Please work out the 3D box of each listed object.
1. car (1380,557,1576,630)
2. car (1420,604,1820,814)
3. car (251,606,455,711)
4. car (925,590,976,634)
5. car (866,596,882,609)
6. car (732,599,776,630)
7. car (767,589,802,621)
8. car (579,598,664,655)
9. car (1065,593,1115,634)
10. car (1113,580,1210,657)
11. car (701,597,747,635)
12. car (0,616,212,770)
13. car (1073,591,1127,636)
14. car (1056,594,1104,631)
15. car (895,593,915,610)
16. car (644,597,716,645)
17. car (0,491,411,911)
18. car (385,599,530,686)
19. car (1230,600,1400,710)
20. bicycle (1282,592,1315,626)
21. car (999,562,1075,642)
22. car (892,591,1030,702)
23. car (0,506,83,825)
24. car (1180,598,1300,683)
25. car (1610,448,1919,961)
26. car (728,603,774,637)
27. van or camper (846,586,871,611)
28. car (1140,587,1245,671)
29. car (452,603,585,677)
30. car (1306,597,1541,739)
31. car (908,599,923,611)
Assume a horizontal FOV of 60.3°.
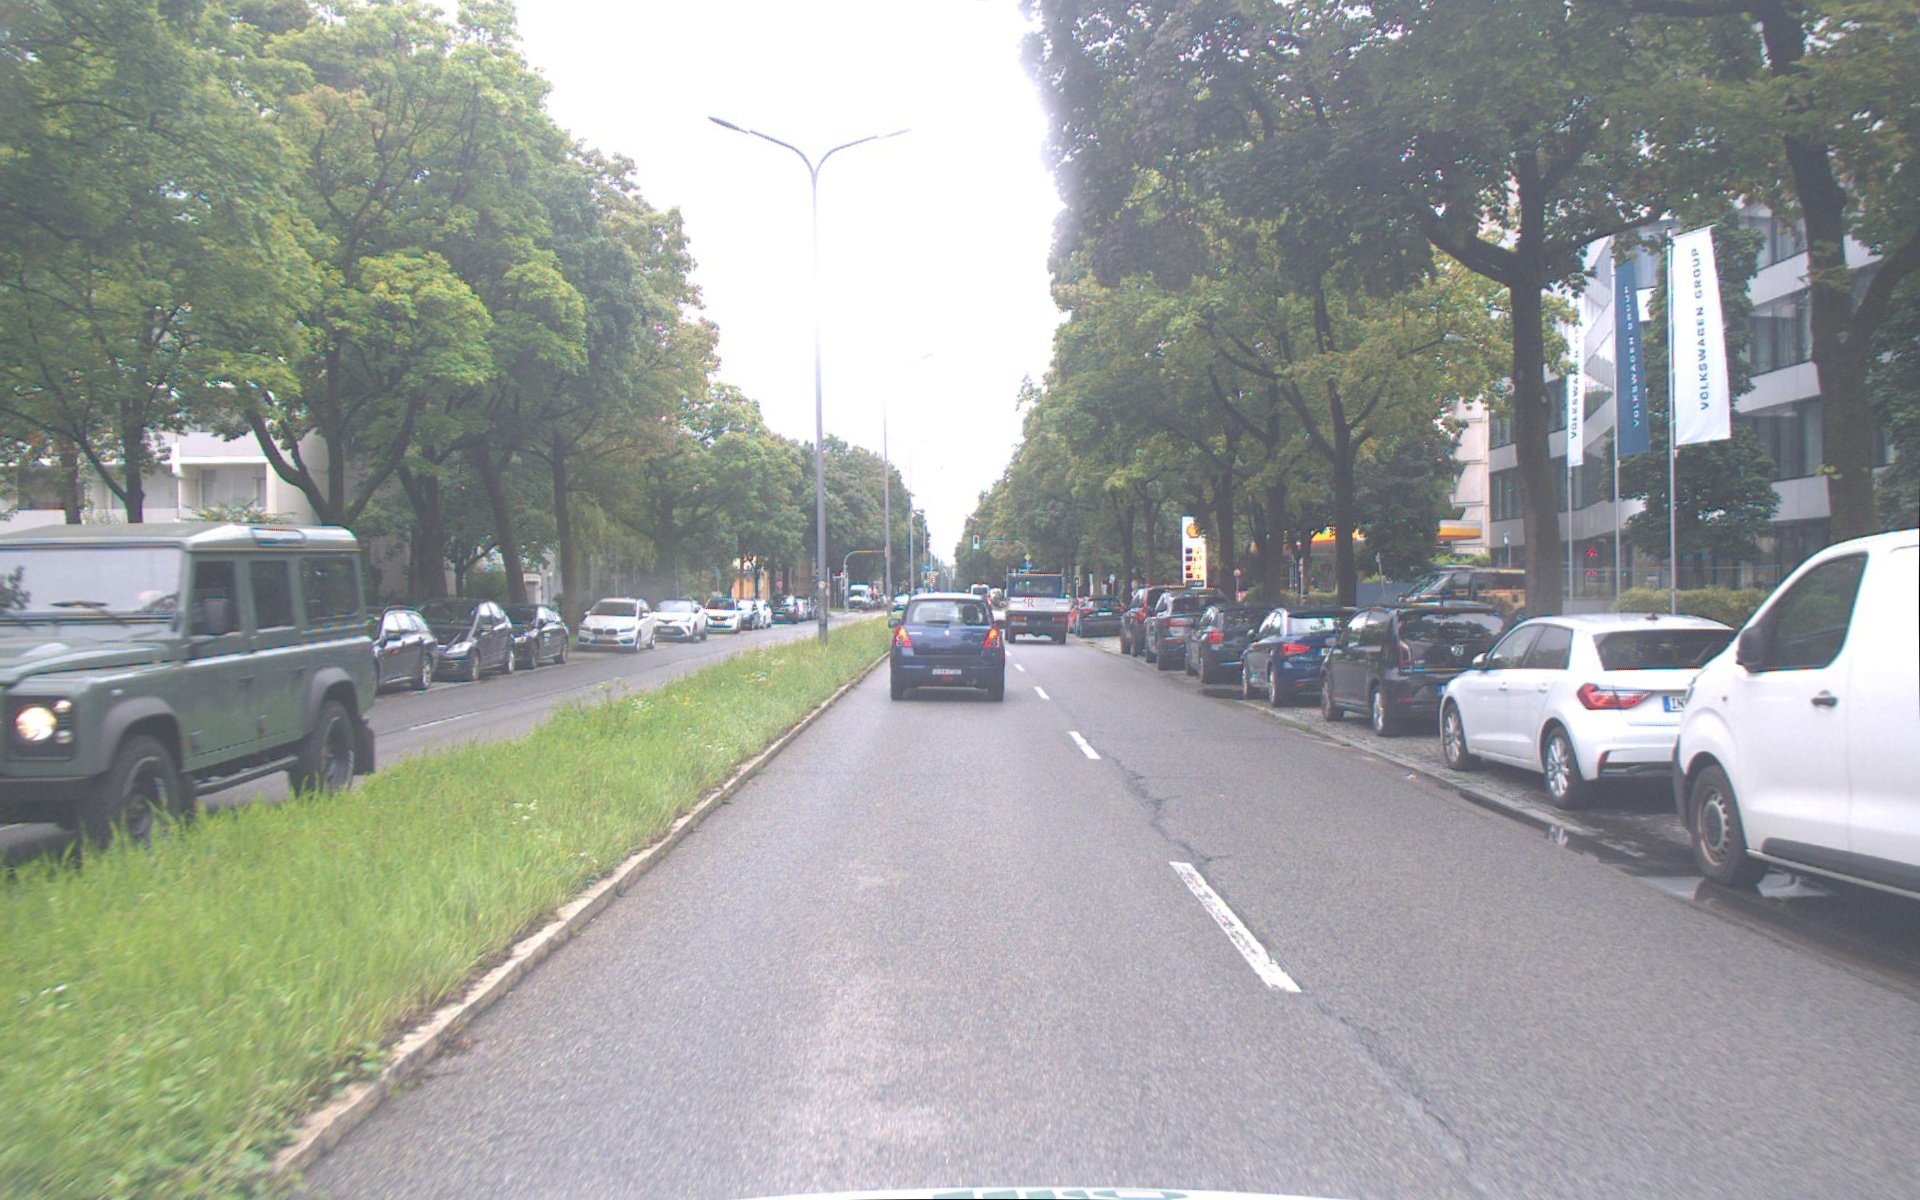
[{"bbox_3d":[15.963,-0.206,51.168,5.359,2.120,2.146,-1,0,-1],"label":"car"},{"bbox_3d":[5.306,0.786,13.944,1.667,1.422,4.232,-1,0,0],"label":"car"},{"bbox_3d":[-10.342,0.930,28.626,1.681,1.551,5.034,2,0,-1],"label":"car"},{"bbox_3d":[-0.344,0.410,59.326,1.762,1.525,3.659,-1,0,-1],"label":"car"},{"bbox_3d":[-10.009,0.252,193.254,1.603,1.467,3.734,-1,0,0],"label":"car"},{"bbox_3d":[-10.479,0.705,84.409,1.640,1.468,4.320,2,0,0],"label":"car"},{"bbox_3d":[-10.368,0.267,97.956,1.761,1.794,5.054,2,0,-4],"label":"car"},{"bbox_3d":[-10.349,0.771,50.881,1.721,1.622,4.488,2,0,-1],"label":"car"},{"bbox_3d":[5.194,0.516,66.536,1.641,1.527,4.021,-3,0,0],"label":"car"},{"bbox_3d":[5.143,0.441,42.832,1.854,1.831,4.861,-1,0,0],"label":"car"},{"bbox_3d":[-10.534,0.700,73.886,1.657,1.593,3.078,2,0,-2],"label":"car"},{"bbox_3d":[-10.359,0.969,18.940,1.592,1.448,4.192,2,0,1],"label":"car"},{"bbox_3d":[5.214,0.483,62.027,1.743,1.537,4.286,-3,0,2],"label":"car"},{"bbox_3d":[5.106,0.505,70.959,1.641,1.479,4.582,-3,0,0],"label":"car"},{"bbox_3d":[-5.165,0.140,155.946,1.703,1.465,4.215,-1,0,0],"label":"car"},{"bbox_3d":[-10.286,0.759,61.016,1.794,1.637,4.491,2,0,0],"label":"car"},{"bbox_3d":[-5.184,0.501,10.572,1.744,2.065,4.817,-1,0,-1],"label":"car"},{"bbox_3d":[-10.306,0.823,34.218,1.651,1.625,4.210,2,0,0],"label":"car"},{"bbox_3d":[5.239,0.757,24.905,1.667,1.446,4.121,-1,0,0],"label":"car"},{"bbox_3d":[12.489,0.321,61.100,0.733,1.203,2.246,-1,0,0],"label":"bicycle"},{"bbox_3d":[2.466,0.052,54.285,2.368,2.487,5.087,1,0,1],"label":"car"},{"bbox_3d":[-0.063,0.636,24.835,1.858,1.525,3.658,1,0,-3],"label":"car"},{"bbox_3d":[-7.794,0.511,9.714,2.164,2.232,5.798,-2,0,-1],"label":"car"},{"bbox_3d":[5.235,0.709,31.397,1.666,1.432,4.514,-1,0,2],"label":"car"},{"bbox_3d":[5.070,0.426,7.605,1.946,2.195,5.555,-1,0,0],"label":"car"},{"bbox_3d":[-9.986,0.952,79.211,1.640,1.501,4.215,2,0,0],"label":"car"},{"bbox_3d":[-10.596,-0.210,172.765,2.096,2.519,6.259,-1,0,0],"label":"van or camper"},{"bbox_3d":[5.072,0.586,36.650,1.775,1.705,4.801,-1,0,2],"label":"car"},{"bbox_3d":[-10.309,0.882,38.971,1.724,1.540,4.948,2,0,0],"label":"car"},{"bbox_3d":[5.381,0.723,19.709,1.667,1.472,3.978,-1,0,0],"label":"car"},{"bbox_3d":[-5.424,0.600,202.161,1.702,1.467,4.103,-1,0,0],"label":"car"}]
